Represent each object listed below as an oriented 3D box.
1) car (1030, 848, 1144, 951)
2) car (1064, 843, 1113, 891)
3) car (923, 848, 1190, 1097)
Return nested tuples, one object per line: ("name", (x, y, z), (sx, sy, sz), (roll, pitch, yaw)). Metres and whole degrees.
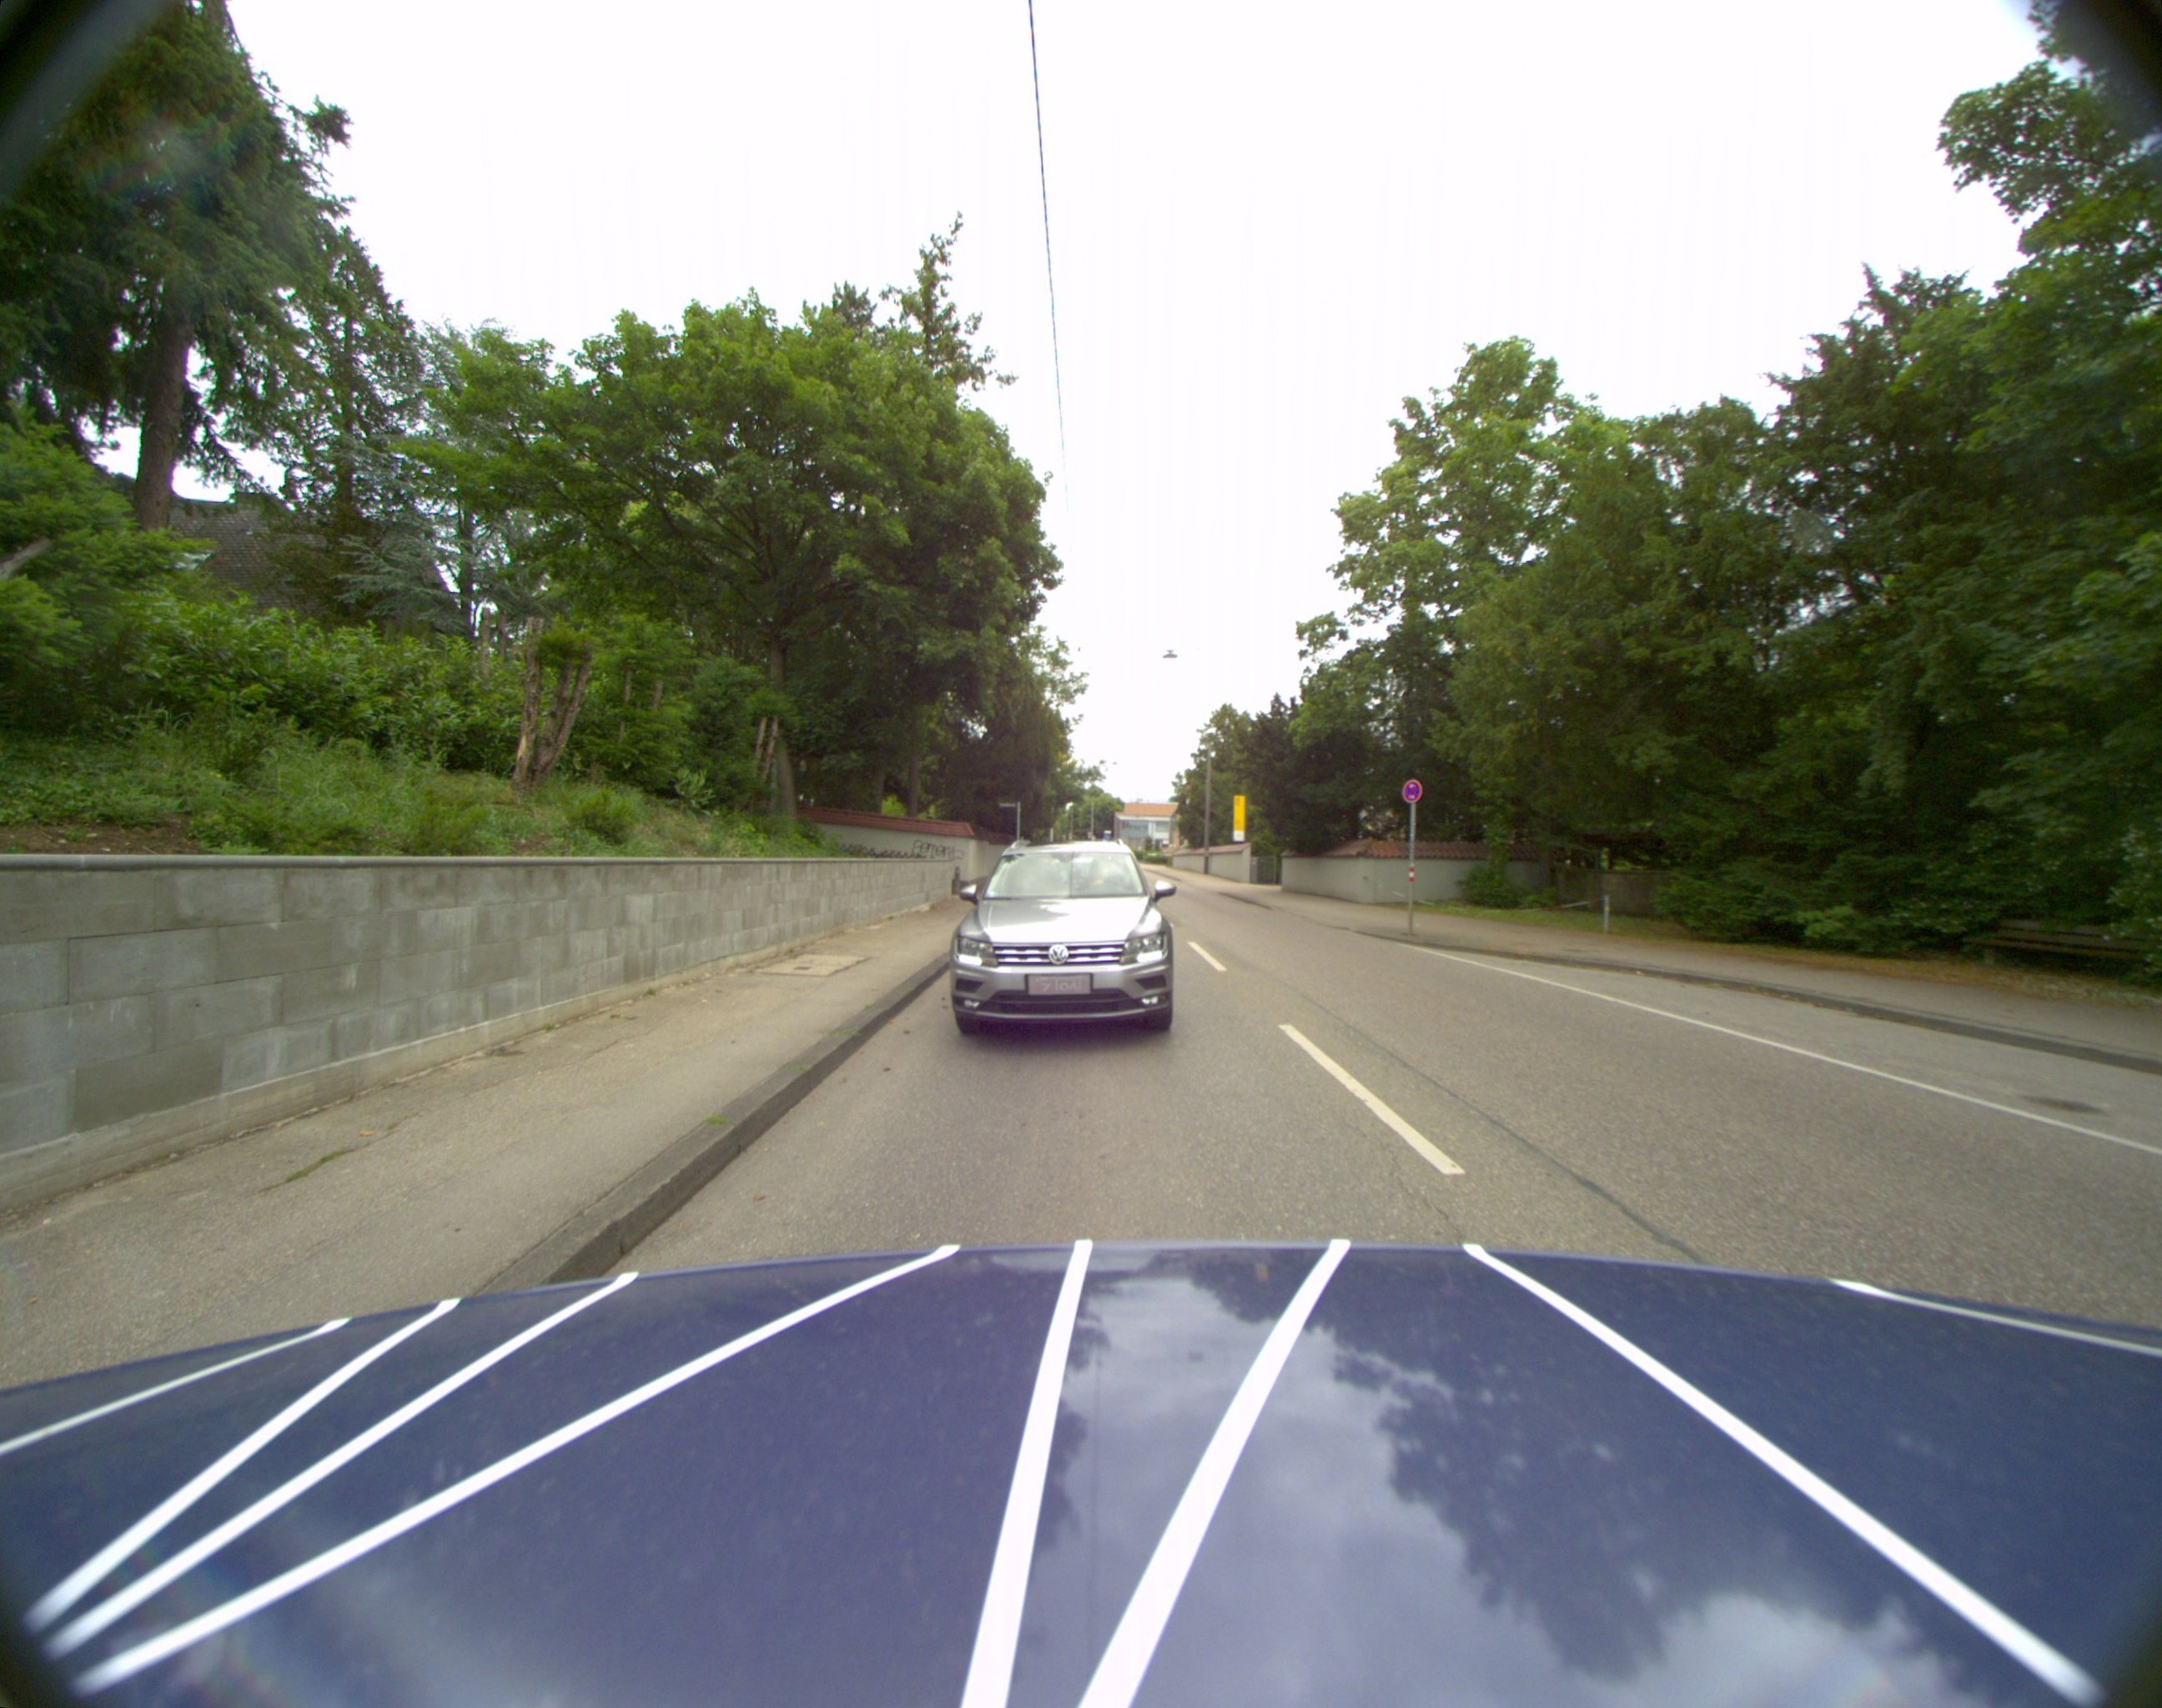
("car", (0.107, 0.713, 14.420), (1.820, 1.647, 4.487), (0, 1, 0))
("car", (0.283, 0.451, 30.038), (1.820, 1.733, 4.487), (0, 1, 0))
("car", (-0.157, 0.808, 7.636), (1.820, 1.690, 4.718), (-1, 1, 0))
